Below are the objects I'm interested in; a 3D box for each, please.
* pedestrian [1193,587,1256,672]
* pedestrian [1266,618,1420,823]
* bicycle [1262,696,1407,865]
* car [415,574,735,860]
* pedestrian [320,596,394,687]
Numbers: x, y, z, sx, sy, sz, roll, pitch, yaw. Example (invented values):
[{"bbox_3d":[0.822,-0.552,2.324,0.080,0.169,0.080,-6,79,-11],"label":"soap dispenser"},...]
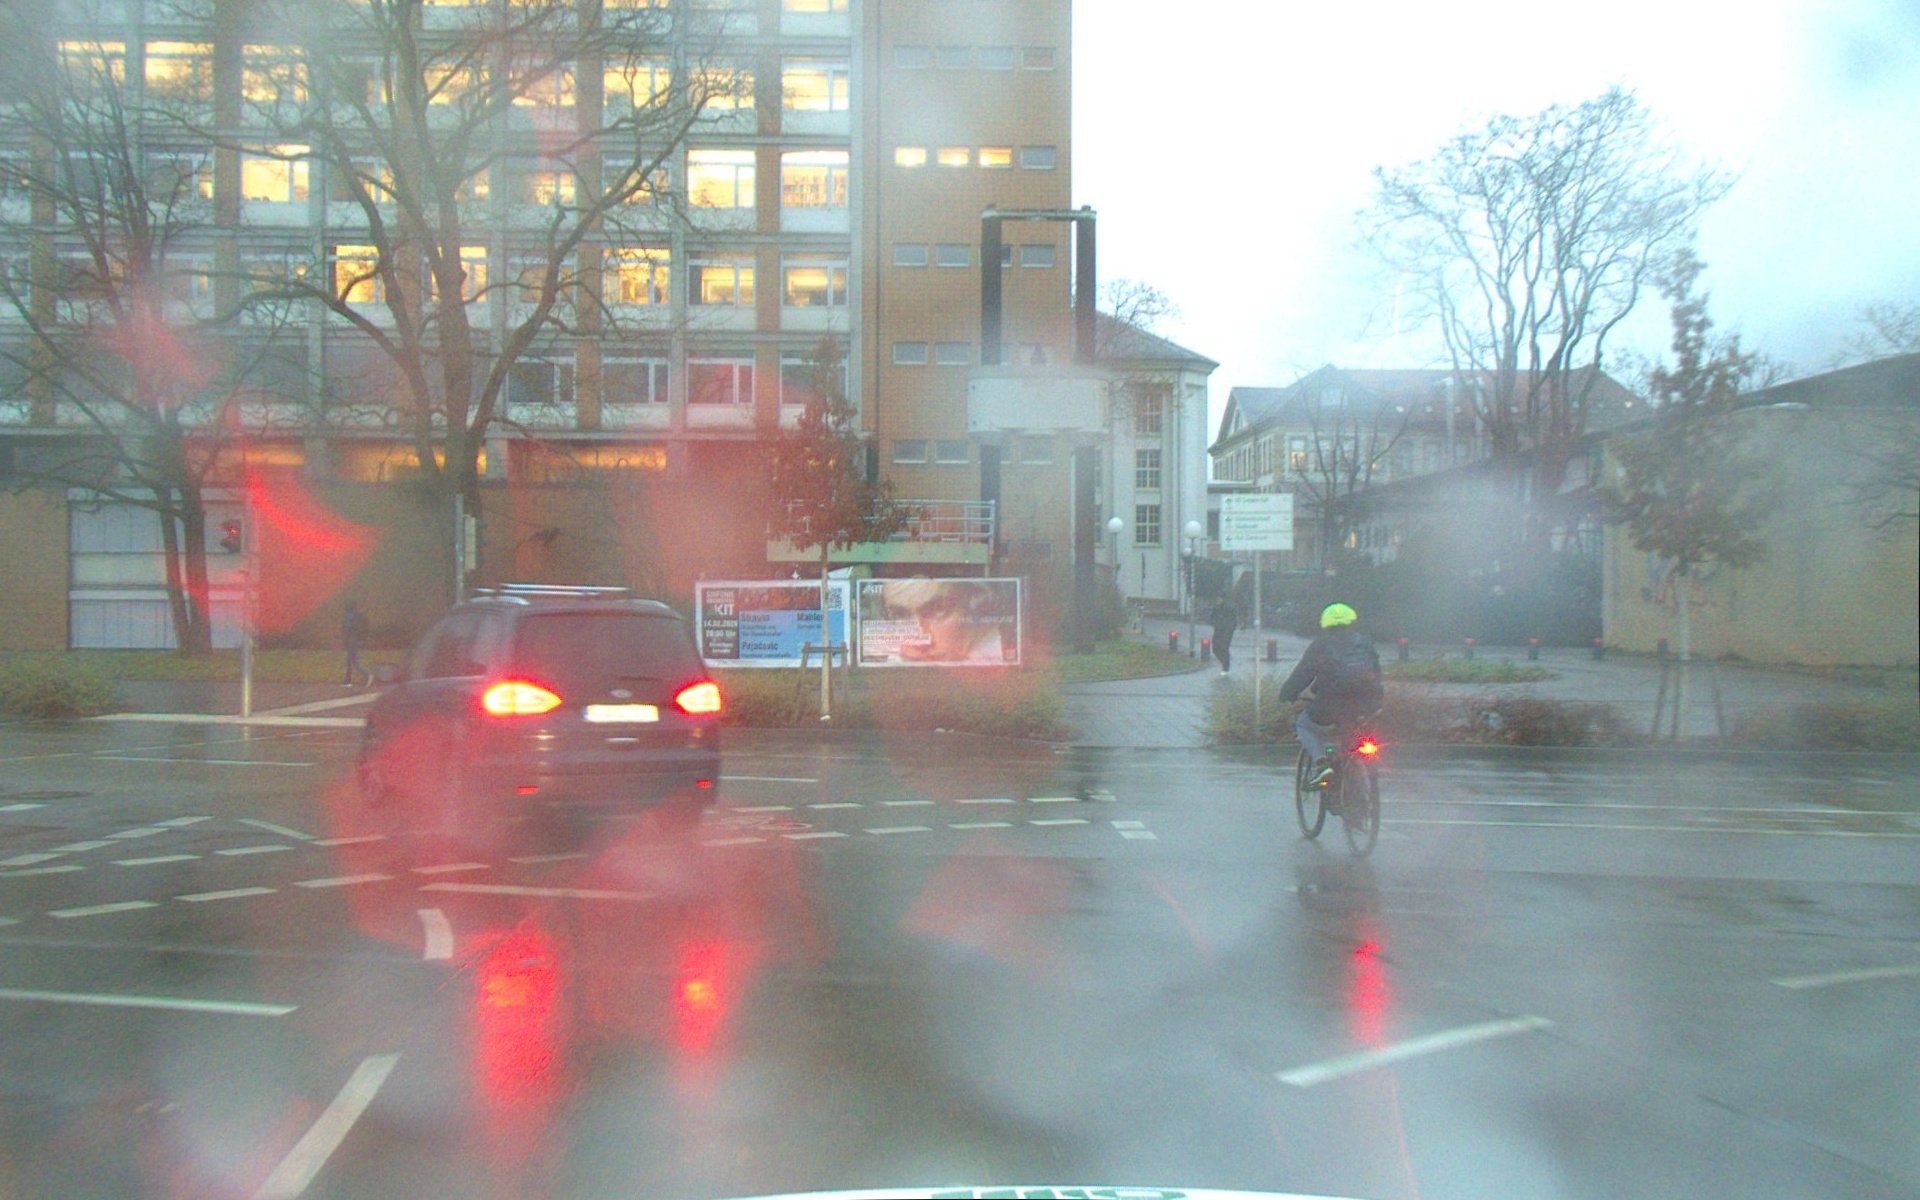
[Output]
[{"bbox_3d":[5.488,0.600,34.345,0.913,1.717,0.905,0,2,-25],"label":"pedestrian"},{"bbox_3d":[2.638,0.812,11.473,0.856,1.339,0.848,-1,0,0],"label":"pedestrian"},{"bbox_3d":[2.621,1.230,11.769,0.550,0.963,2.095,0,0,0],"label":"bicycle"},{"bbox_3d":[-3.178,0.771,12.967,1.753,1.832,4.394,1,-1,-22],"label":"car"},{"bbox_3d":[-11.773,0.795,32.284,1.045,1.717,0.810,0,1,20],"label":"pedestrian"}]
